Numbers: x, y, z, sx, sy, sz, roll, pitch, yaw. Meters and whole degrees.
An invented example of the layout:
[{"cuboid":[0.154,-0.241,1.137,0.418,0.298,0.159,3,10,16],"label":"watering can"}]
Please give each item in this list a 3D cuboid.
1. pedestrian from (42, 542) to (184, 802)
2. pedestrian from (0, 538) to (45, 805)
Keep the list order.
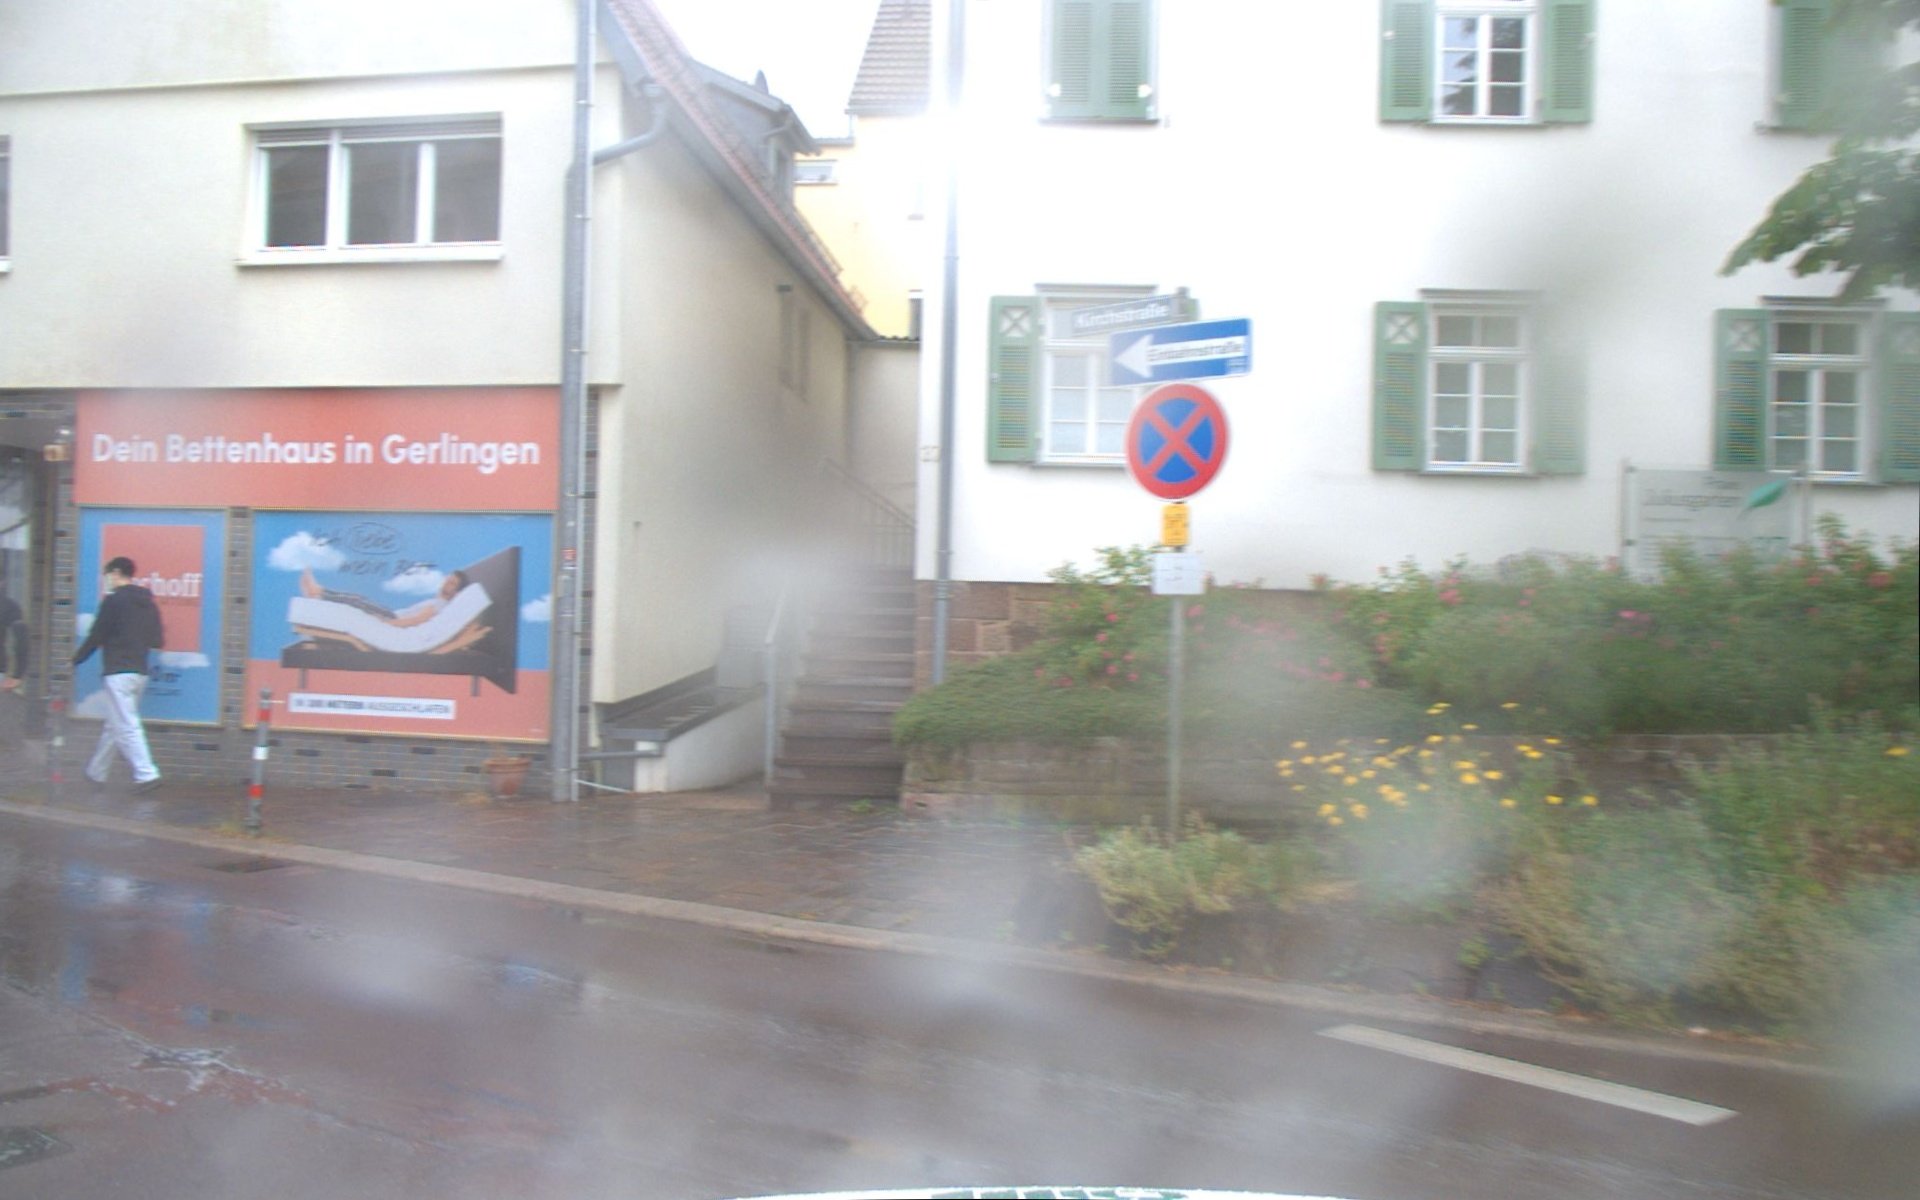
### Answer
[{"cuboid":[-6.868,0.573,13.437,0.743,2.049,0.653,0,-2,15],"label":"pedestrian"},{"cuboid":[-7.696,0.552,12.856,0.743,2.049,0.653,0,-2,15],"label":"pedestrian"}]
